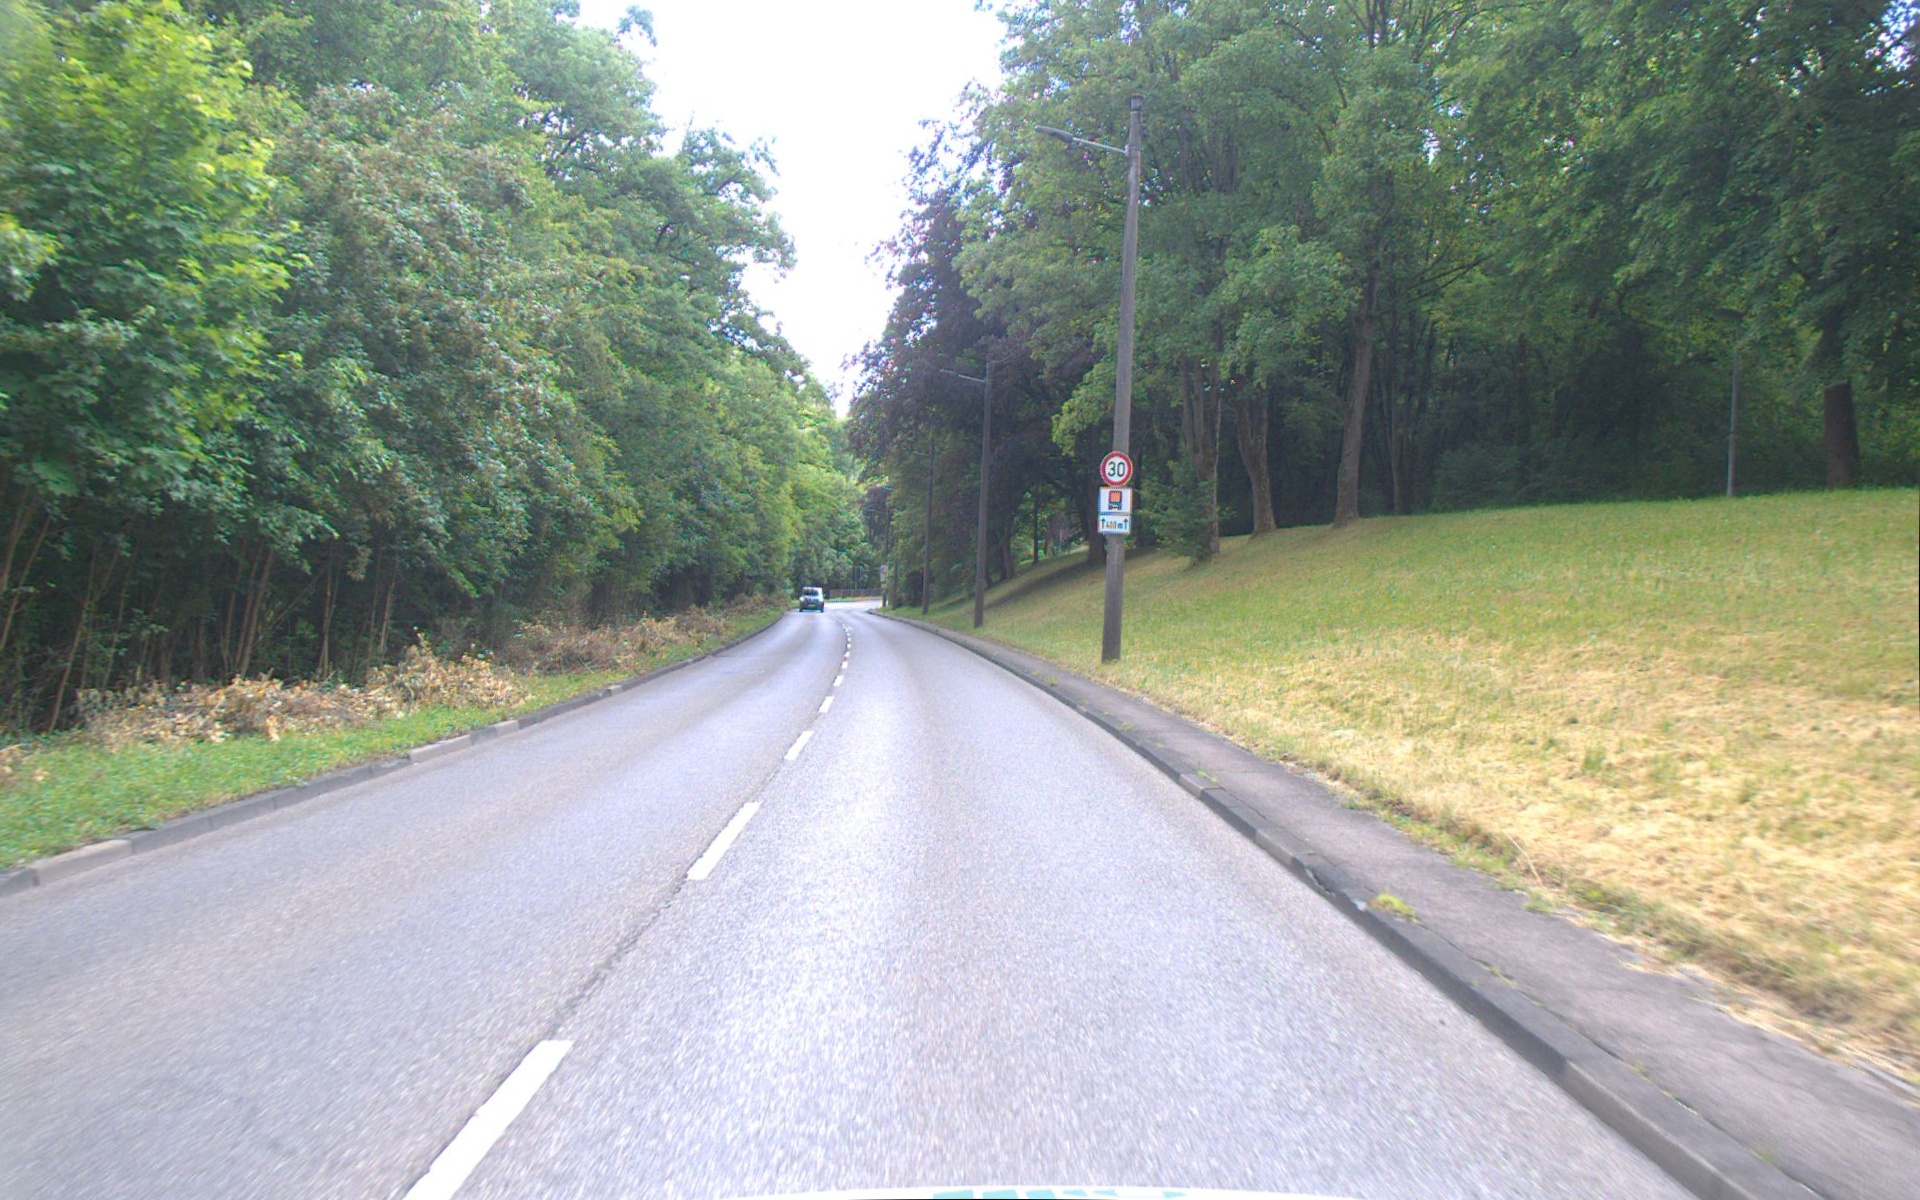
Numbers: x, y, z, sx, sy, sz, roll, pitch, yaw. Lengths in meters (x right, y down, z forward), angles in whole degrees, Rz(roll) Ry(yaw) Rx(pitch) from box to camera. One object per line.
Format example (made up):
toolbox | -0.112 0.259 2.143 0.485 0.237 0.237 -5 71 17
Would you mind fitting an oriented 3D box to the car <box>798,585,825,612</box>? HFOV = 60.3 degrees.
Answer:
car | -11.494 -0.107 128.344 1.954 1.982 4.941 1 0 -4
